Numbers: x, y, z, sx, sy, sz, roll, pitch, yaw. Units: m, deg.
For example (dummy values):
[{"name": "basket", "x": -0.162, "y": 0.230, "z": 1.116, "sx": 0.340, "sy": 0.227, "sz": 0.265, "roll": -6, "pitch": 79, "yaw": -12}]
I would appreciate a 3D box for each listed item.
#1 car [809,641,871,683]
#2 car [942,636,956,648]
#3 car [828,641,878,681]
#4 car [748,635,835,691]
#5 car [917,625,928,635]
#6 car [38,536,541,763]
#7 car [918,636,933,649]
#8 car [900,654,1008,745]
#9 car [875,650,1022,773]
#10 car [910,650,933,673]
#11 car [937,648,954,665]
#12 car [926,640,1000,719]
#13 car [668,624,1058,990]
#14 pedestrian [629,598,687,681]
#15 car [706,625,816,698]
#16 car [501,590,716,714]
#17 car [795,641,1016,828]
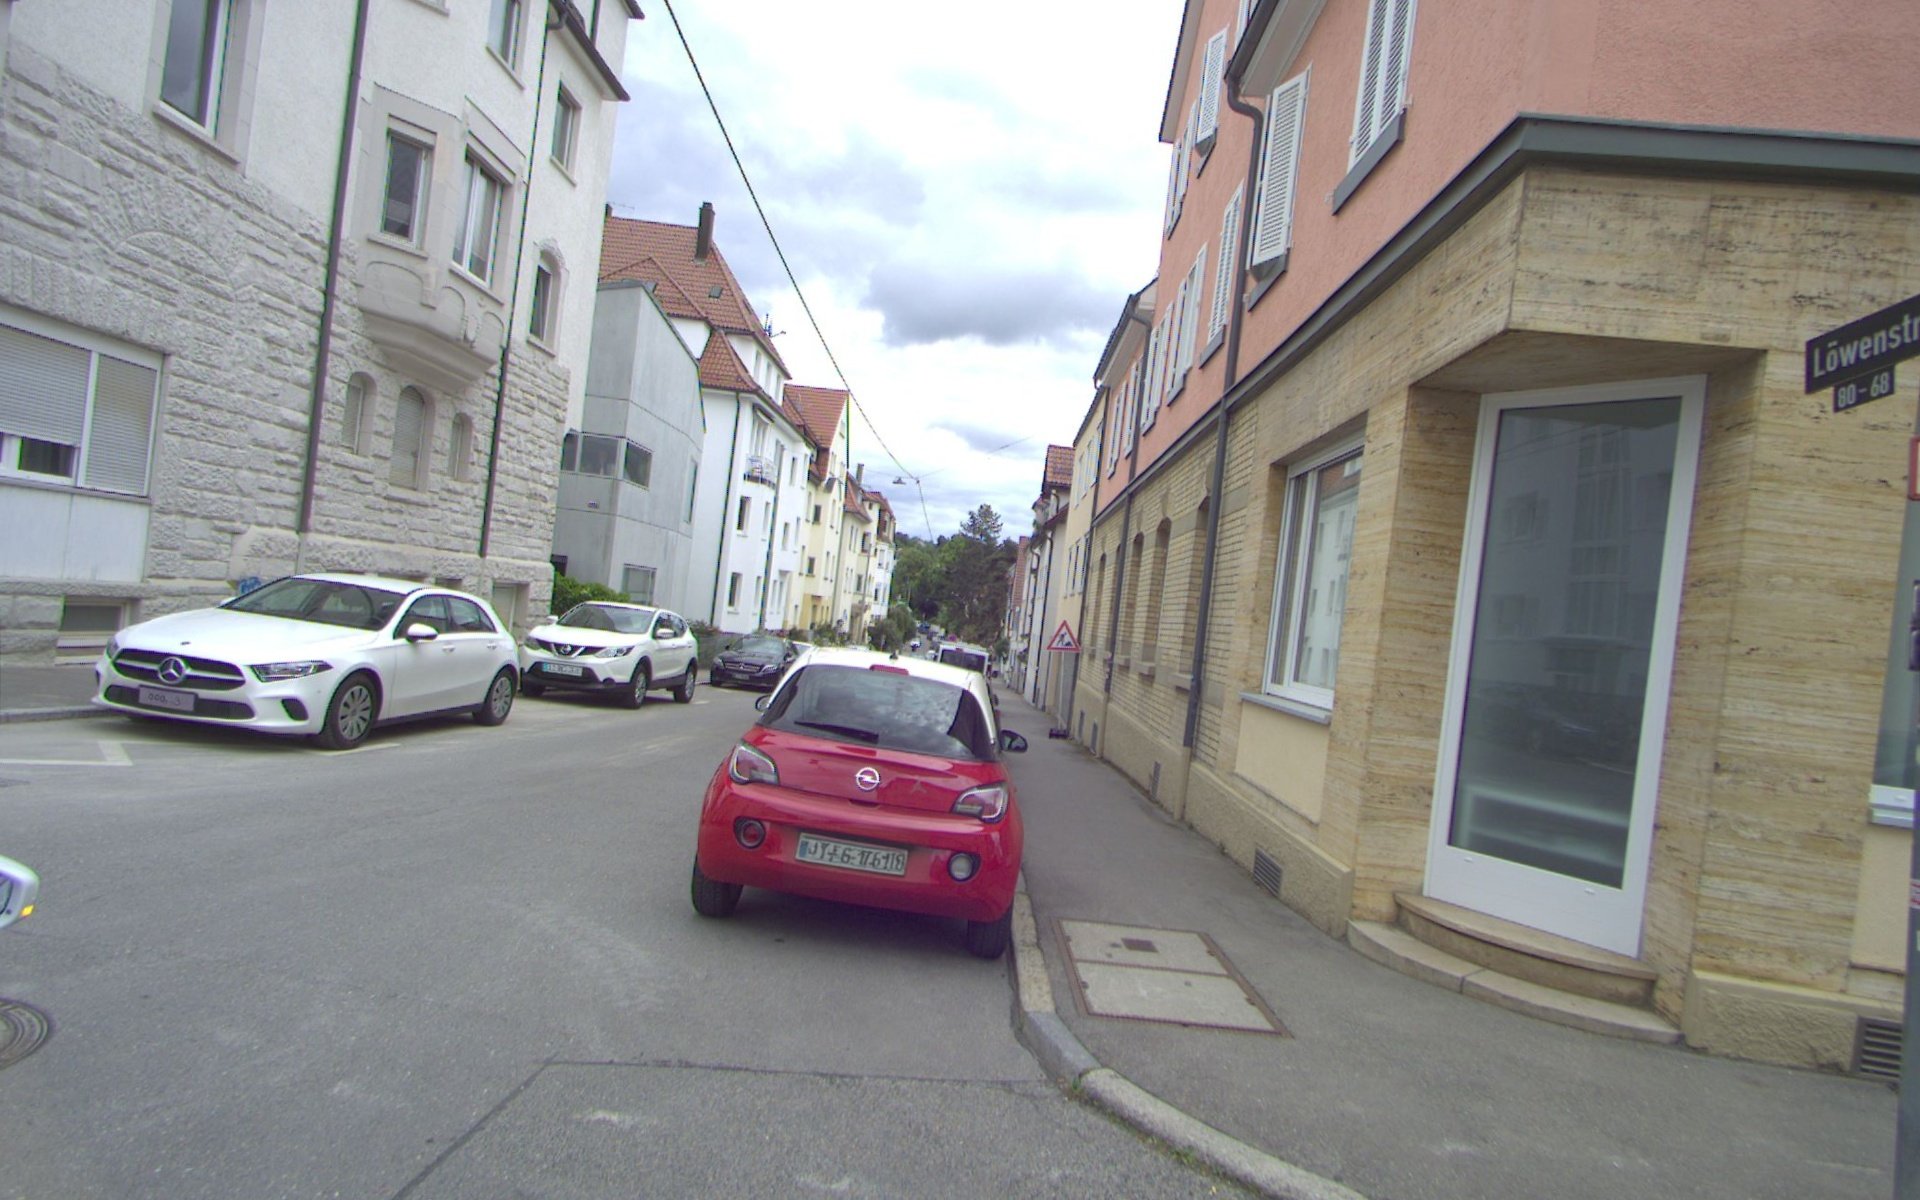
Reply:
[{"name": "car", "x": -5.041, "y": 2.659, "z": 42.777, "sx": 1.816, "sy": 1.473, "sz": 4.512, "roll": 6, "pitch": -4, "yaw": 2}, {"name": "car", "x": -1.789, "y": 6.654, "z": 159.716, "sx": 1.612, "sy": 1.502, "sz": 3.524, "roll": 9, "pitch": 1, "yaw": -7}, {"name": "car", "x": -5.144, "y": 2.940, "z": 48.817, "sx": 1.817, "sy": 1.649, "sz": 4.291, "roll": 7, "pitch": -3, "yaw": 0}, {"name": "car", "x": -5.336, "y": 2.017, "z": 32.513, "sx": 1.817, "sy": 1.428, "sz": 5.067, "roll": 7, "pitch": -3, "yaw": 0}, {"name": "car", "x": -7.138, "y": 5.725, "z": 190.677, "sx": 1.611, "sy": 1.556, "sz": 3.524, "roll": 9, "pitch": 1, "yaw": -7}, {"name": "car", "x": -5.698, "y": 0.468, "z": 9.356, "sx": 1.673, "sy": 1.429, "sz": 4.245, "roll": 7, "pitch": -3, "yaw": 0}, {"name": "car", "x": -5.439, "y": 6.593, "z": 157.190, "sx": 1.650, "sy": 1.678, "sz": 3.855, "roll": 6, "pitch": 0, "yaw": -11}, {"name": "car", "x": -0.092, "y": 2.019, "z": 20.985, "sx": 1.824, "sy": 1.418, "sz": 4.582, "roll": 9, "pitch": -4, "yaw": 1}, {"name": "car", "x": -0.198, "y": 1.626, "z": 15.761, "sx": 1.825, "sy": 1.418, "sz": 3.970, "roll": 9, "pitch": -3, "yaw": -1}, {"name": "car", "x": -3.547, "y": 5.603, "z": 92.359, "sx": 1.817, "sy": 1.835, "sz": 4.549, "roll": 6, "pitch": -3, "yaw": -1}, {"name": "car", "x": -1.724, "y": 6.795, "z": 121.178, "sx": 1.646, "sy": 1.677, "sz": 3.863, "roll": 6, "pitch": 0, "yaw": 1}, {"name": "car", "x": 0.126, "y": 2.487, "z": 32.385, "sx": 1.876, "sy": 2.052, "sz": 5.739, "roll": 9, "pitch": -3, "yaw": 1}, {"name": "car", "x": -0.461, "y": 1.052, "z": 6.479, "sx": 1.642, "sy": 1.496, "sz": 3.629, "roll": 7, "pitch": -3, "yaw": 0}, {"name": "pedestrian", "x": -7.340, "y": 0.975, "z": 24.487, "sx": 0.804, "sy": 1.906, "sz": 0.847, "roll": 5, "pitch": -2, "yaw": 25}, {"name": "car", "x": -5.185, "y": 1.613, "z": 26.785, "sx": 1.867, "sy": 1.544, "sz": 4.475, "roll": 7, "pitch": -3, "yaw": 0}, {"name": "car", "x": -5.476, "y": 0.845, "z": 16.326, "sx": 1.817, "sy": 1.532, "sz": 4.245, "roll": 7, "pitch": -3, "yaw": 0}, {"name": "car", "x": -0.423, "y": 1.338, "z": 11.284, "sx": 1.824, "sy": 1.418, "sz": 4.298, "roll": 9, "pitch": -3, "yaw": 2}]
